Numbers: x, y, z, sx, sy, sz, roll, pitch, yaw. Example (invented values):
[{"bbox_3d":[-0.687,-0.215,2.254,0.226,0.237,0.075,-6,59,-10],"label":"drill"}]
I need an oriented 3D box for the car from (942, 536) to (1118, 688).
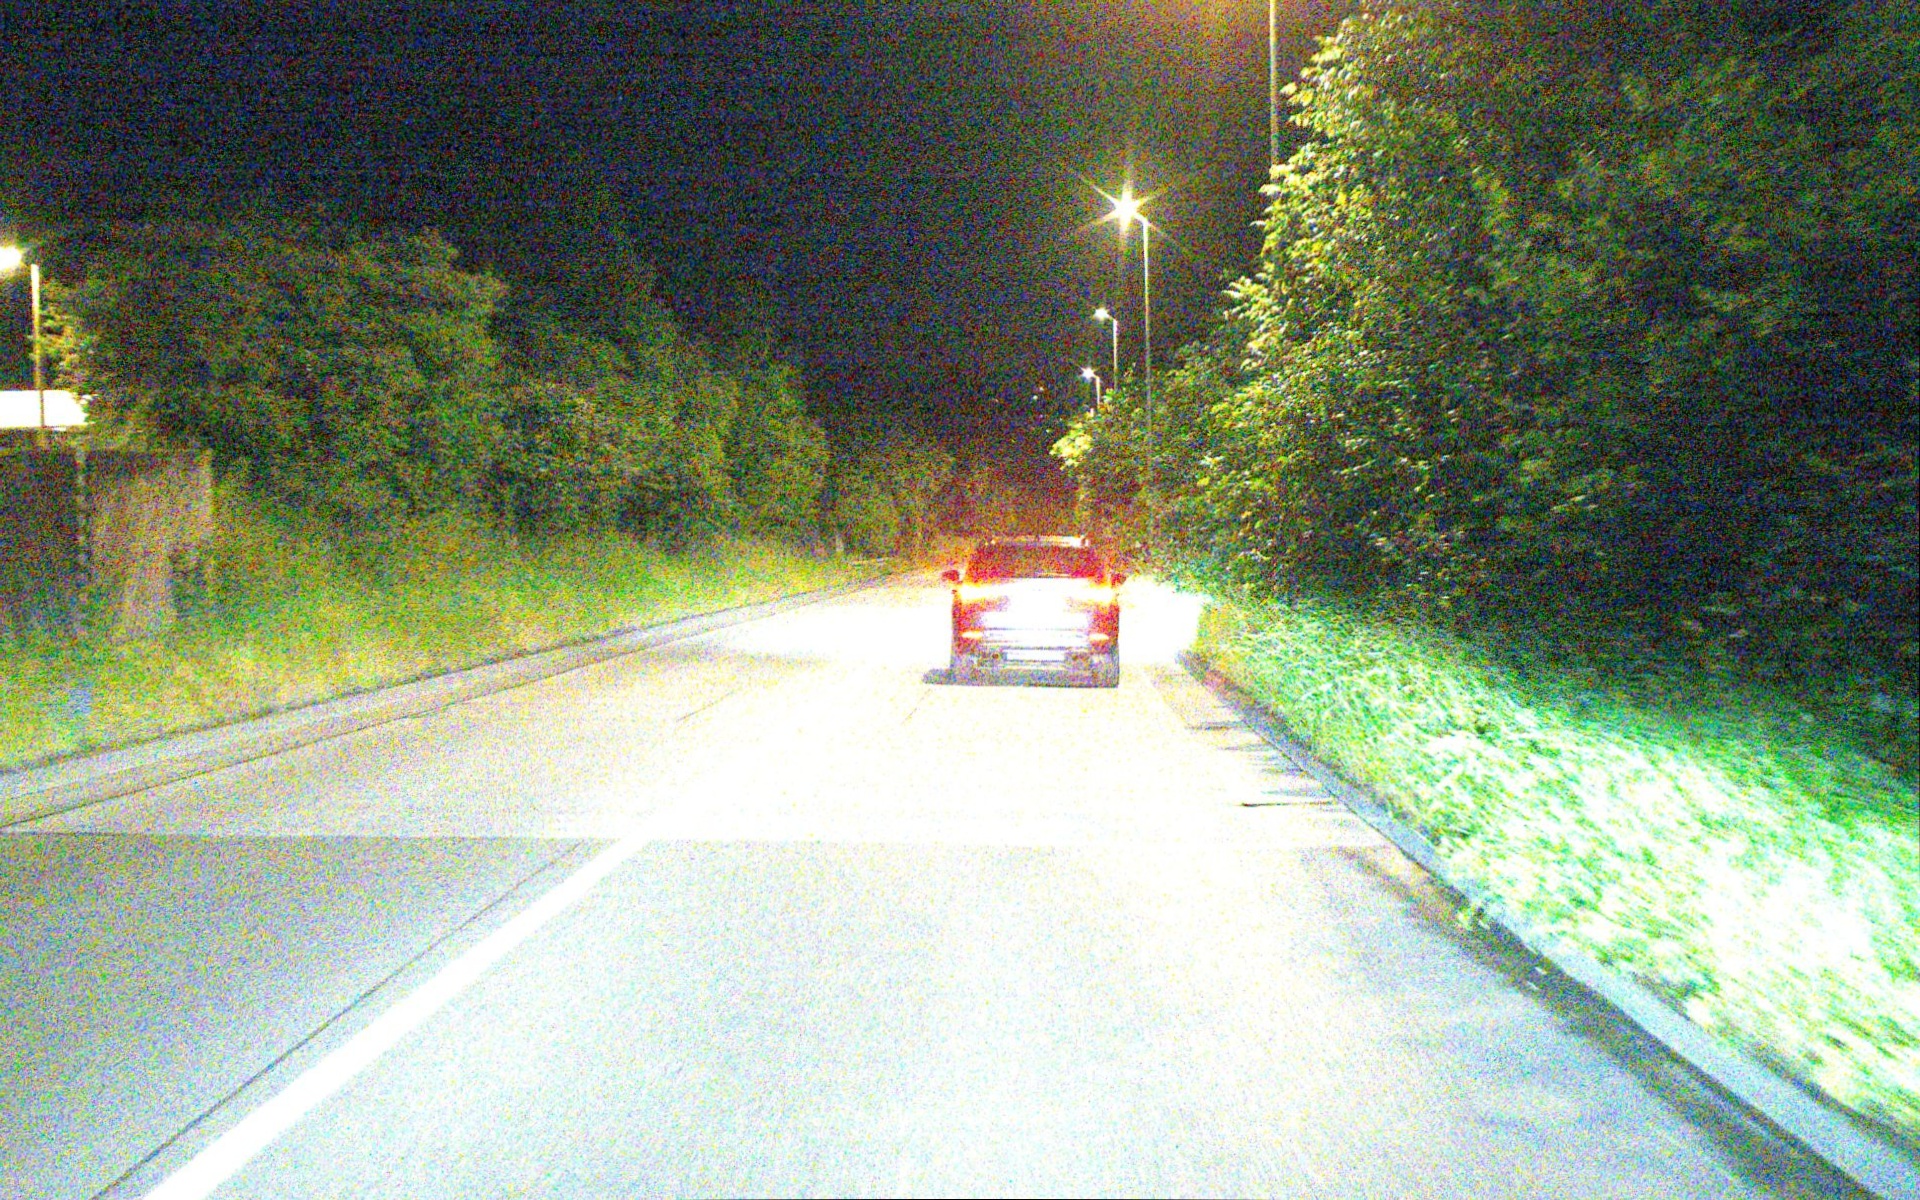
[{"bbox_3d":[0.750,0.085,37.582,1.815,1.568,3.943,0,1,1],"label":"car"}]
